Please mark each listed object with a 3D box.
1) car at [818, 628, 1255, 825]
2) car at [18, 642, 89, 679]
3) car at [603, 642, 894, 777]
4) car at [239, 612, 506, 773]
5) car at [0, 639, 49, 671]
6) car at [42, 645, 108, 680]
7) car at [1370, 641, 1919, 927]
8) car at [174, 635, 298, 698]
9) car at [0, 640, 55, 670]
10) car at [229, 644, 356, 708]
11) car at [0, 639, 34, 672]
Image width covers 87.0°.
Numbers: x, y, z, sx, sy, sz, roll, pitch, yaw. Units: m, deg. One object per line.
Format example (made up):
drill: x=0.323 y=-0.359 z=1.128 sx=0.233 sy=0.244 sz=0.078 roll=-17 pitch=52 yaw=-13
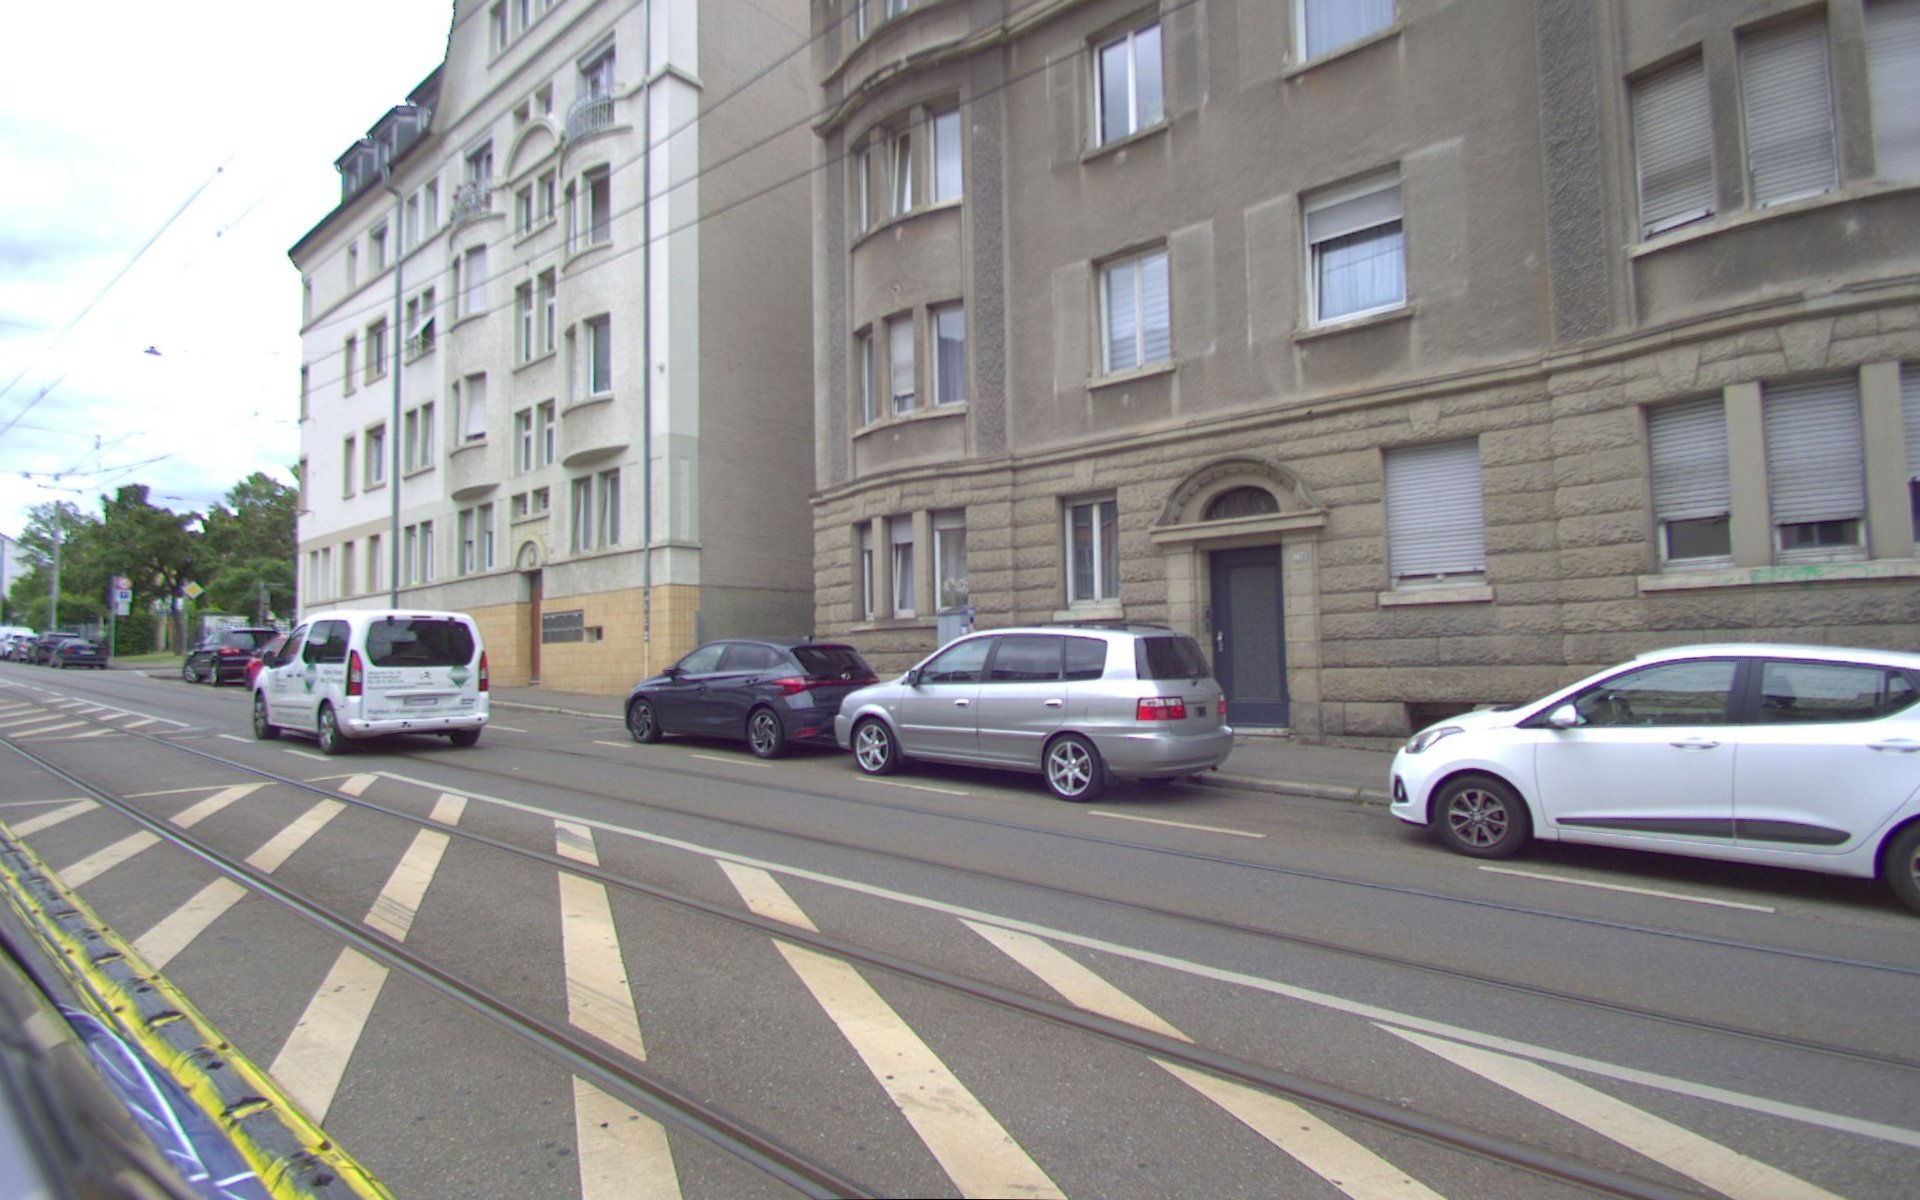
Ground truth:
car: x=0.614 y=1.134 z=10.362 sx=4.347 sy=1.616 sz=1.604 roll=-2 pitch=-4 yaw=40
car: x=-45.224 y=2.983 z=50.469 sx=4.440 sy=1.699 sz=1.949 roll=-1 pitch=-3 yaw=40
car: x=-2.903 y=1.338 z=13.446 sx=4.029 sy=1.474 sz=1.604 roll=-1 pitch=-3 yaw=40
car: x=-8.002 y=1.125 z=13.629 sx=4.216 sy=1.833 sz=1.900 roll=-2 pitch=-3 yaw=42
car: x=-54.078 y=3.120 z=58.081 sx=4.629 sy=1.699 sz=1.949 roll=-1 pitch=-3 yaw=40
car: x=-40.223 y=2.810 z=45.969 sx=4.152 sy=1.489 sz=1.604 roll=-1 pitch=-3 yaw=40
car: x=4.859 y=1.044 z=6.681 sx=3.683 sy=1.474 sz=1.603 roll=-1 pitch=-3 yaw=41
car: x=-21.164 y=1.887 z=29.532 sx=4.398 sy=1.658 sz=1.848 roll=-1 pitch=-3 yaw=40
car: x=-50.065 y=2.926 z=54.232 sx=3.866 sy=1.520 sz=1.721 roll=-1 pitch=-3 yaw=40
car: x=-17.309 y=1.911 z=26.202 sx=3.740 sy=1.474 sz=1.605 roll=-1 pitch=-3 yaw=38
car: x=-58.530 y=3.379 z=62.020 sx=4.731 sy=1.927 sz=1.949 roll=-1 pitch=-3 yaw=40
